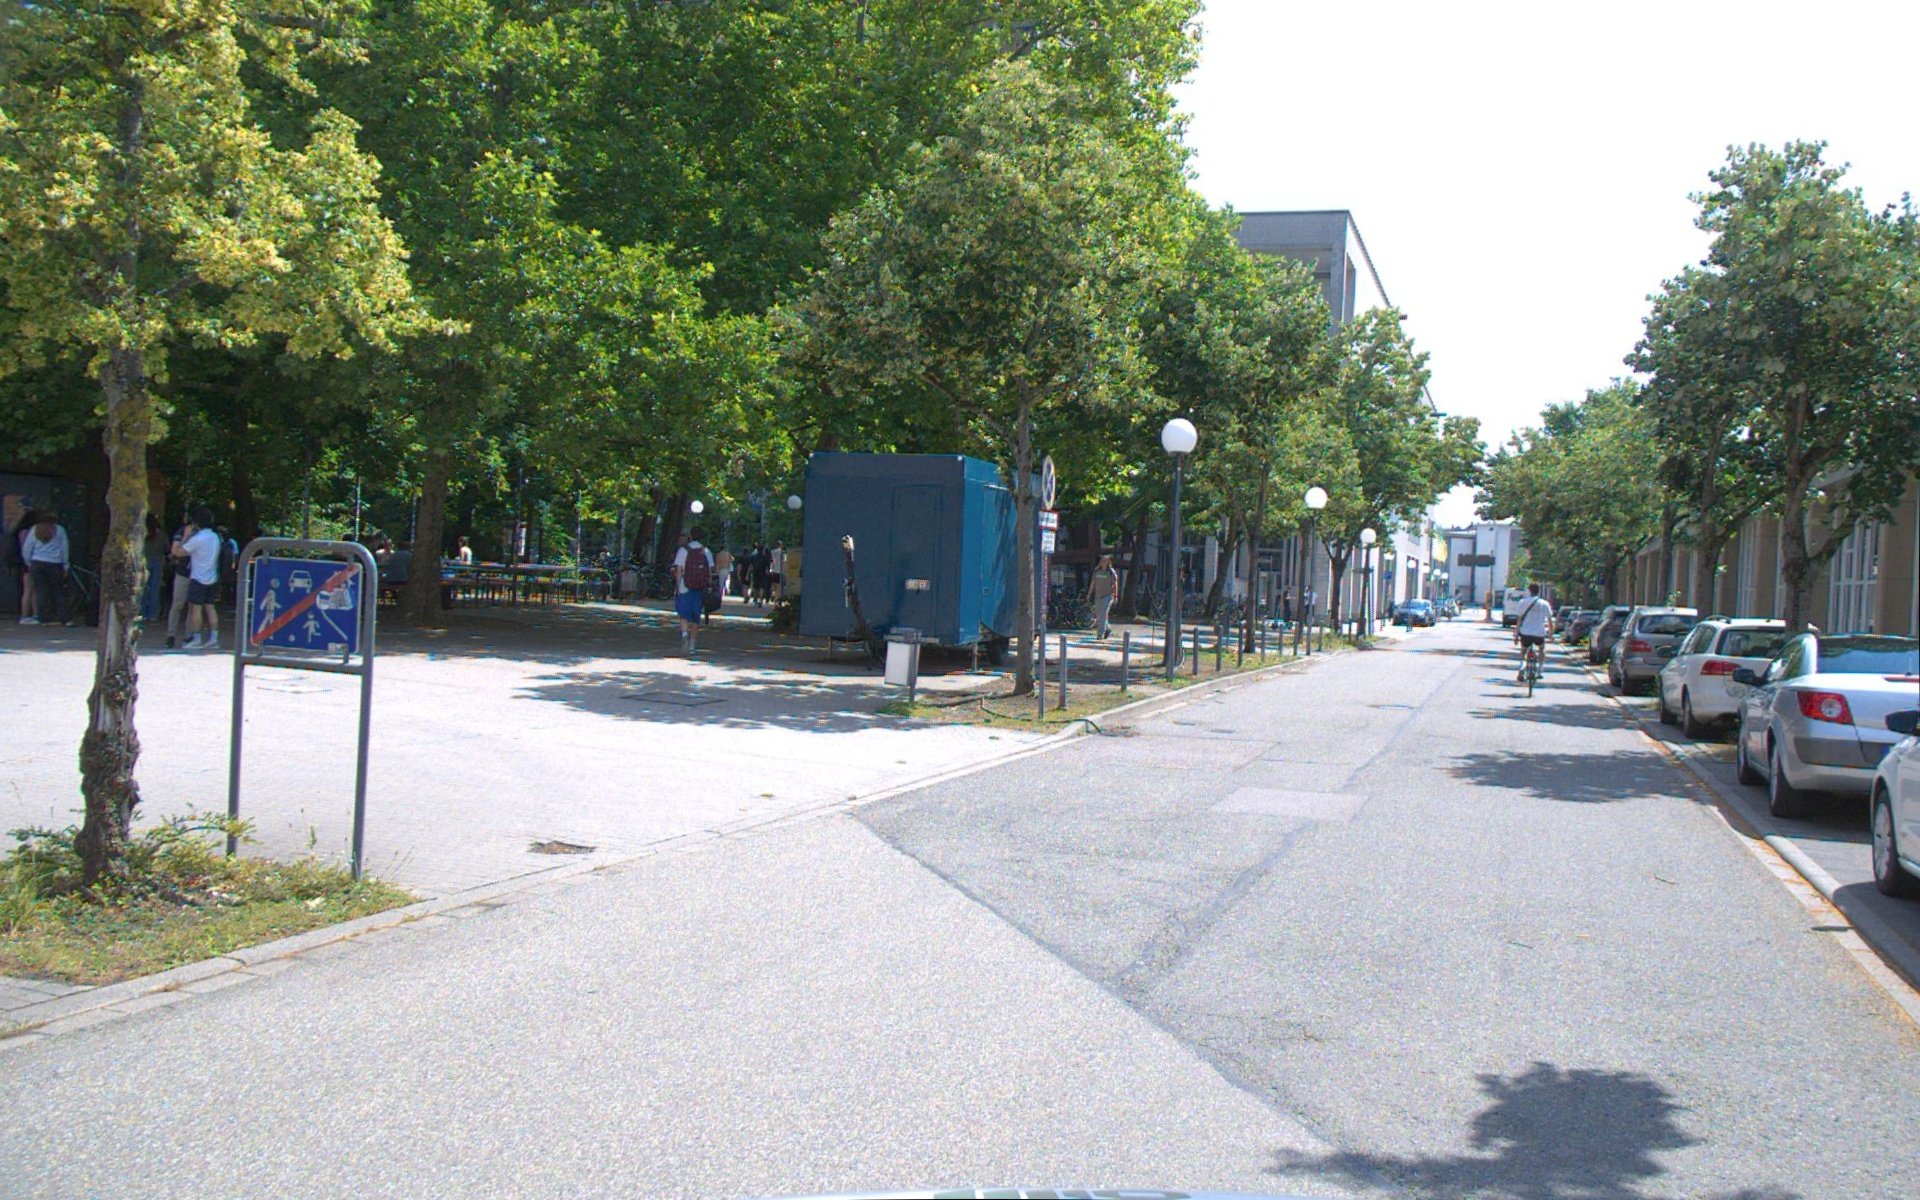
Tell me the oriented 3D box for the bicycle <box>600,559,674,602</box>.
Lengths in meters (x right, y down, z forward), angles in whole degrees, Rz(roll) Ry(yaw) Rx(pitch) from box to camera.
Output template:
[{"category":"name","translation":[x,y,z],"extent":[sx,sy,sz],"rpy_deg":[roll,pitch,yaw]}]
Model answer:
[{"category":"bicycle","translation":[-9.309,-0.560,47.665],"extent":[1.965,1.138,0.585],"rpy_deg":[2,1,10]}]

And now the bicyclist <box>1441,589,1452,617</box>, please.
[{"category":"bicyclist","translation":[35.937,0.217,122.171],"extent":[0.696,2.049,1.019],"rpy_deg":[1,0,17]}]

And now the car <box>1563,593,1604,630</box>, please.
[{"category":"car","translation":[28.137,0.515,74.697],"extent":[1.583,1.565,3.781],"rpy_deg":[3,1,19]}]

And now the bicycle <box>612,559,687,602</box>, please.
[{"category":"bicycle","translation":[-8.787,-0.551,46.779],"extent":[1.965,1.138,0.585],"rpy_deg":[2,1,10]}]

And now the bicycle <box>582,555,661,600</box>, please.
[{"category":"bicycle","translation":[-9.089,-0.604,44.424],"extent":[1.965,1.138,0.585],"rpy_deg":[2,1,10]}]

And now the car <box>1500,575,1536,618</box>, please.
[{"category":"car","translation":[36.160,-0.235,107.221],"extent":[2.041,2.583,4.317],"rpy_deg":[4,1,18]}]

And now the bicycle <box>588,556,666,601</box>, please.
[{"category":"bicycle","translation":[-9.107,-0.591,45.271],"extent":[1.965,1.138,0.585],"rpy_deg":[2,1,10]}]

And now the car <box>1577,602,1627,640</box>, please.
[{"category":"car","translation":[26.848,0.857,69.284],"extent":[1.743,1.502,4.463],"rpy_deg":[1,0,19]}]

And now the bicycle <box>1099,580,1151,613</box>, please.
[{"category":"bicycle","translation":[6.691,-0.148,67.044],"extent":[1.979,1.275,0.585],"rpy_deg":[2,1,-14]}]

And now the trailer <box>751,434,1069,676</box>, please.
[{"category":"trailer","translation":[-0.521,-0.636,25.114],"extent":[2.641,3.078,6.268],"rpy_deg":[4,1,19]}]

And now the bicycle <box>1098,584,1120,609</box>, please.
[{"category":"bicycle","translation":[6.344,-0.144,70.439],"extent":[0.465,1.050,1.850],"rpy_deg":[3,1,19]}]

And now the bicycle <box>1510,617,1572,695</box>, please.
[{"category":"bicycle","translation":[10.172,0.947,29.037],"extent":[0.864,1.220,2.751],"rpy_deg":[3,1,17]}]

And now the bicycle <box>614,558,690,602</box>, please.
[{"category":"bicycle","translation":[-8.561,-0.554,45.951],"extent":[1.965,1.138,0.585],"rpy_deg":[2,1,10]}]

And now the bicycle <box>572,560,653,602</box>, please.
[{"category":"bicycle","translation":[-9.118,-0.509,43.438],"extent":[1.965,1.025,0.585],"rpy_deg":[2,1,10]}]

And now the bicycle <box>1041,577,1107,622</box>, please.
[{"category":"bicycle","translation":[3.153,-0.020,45.738],"extent":[1.736,1.151,0.459],"rpy_deg":[3,1,1]}]

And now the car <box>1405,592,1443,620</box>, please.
[{"category":"car","translation":[26.411,0.338,94.062],"extent":[1.730,1.452,4.235],"rpy_deg":[3,0,20]}]

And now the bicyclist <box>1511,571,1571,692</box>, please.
[{"category":"bicyclist","translation":[10.180,0.535,29.001],"extent":[0.855,2.048,0.850],"rpy_deg":[3,1,17]}]

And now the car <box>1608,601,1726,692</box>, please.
[{"category":"car","translation":[13.742,0.843,32.334],"extent":[1.668,1.601,4.142],"rpy_deg":[2,0,17]}]

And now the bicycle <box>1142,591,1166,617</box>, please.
[{"category":"bicycle","translation":[8.502,0.173,72.397],"extent":[0.540,1.105,1.974],"rpy_deg":[5,1,19]}]

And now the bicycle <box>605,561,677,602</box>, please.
[{"category":"bicycle","translation":[-9.362,-0.545,48.496],"extent":[1.965,1.138,0.585],"rpy_deg":[2,1,10]}]

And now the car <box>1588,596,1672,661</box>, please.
[{"category":"car","translation":[18.959,0.800,46.972],"extent":[1.784,1.693,4.586],"rpy_deg":[1,0,17]}]

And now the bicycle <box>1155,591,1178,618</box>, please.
[{"category":"bicycle","translation":[9.045,0.198,72.275],"extent":[0.540,1.105,1.974],"rpy_deg":[5,1,19]}]

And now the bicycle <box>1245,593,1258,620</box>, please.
[{"category":"bicycle","translation":[11.382,0.244,64.636],"extent":[0.373,1.043,1.816],"rpy_deg":[3,1,7]}]

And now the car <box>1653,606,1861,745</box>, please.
[{"category":"car","translation":[10.117,0.868,21.325],"extent":[1.689,1.493,4.674],"rpy_deg":[2,1,17]}]

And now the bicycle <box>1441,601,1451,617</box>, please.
[{"category":"bicycle","translation":[35.966,0.640,122.308],"extent":[0.670,1.149,1.890],"rpy_deg":[2,1,17]}]

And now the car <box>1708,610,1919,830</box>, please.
[{"category":"car","translation":[7.242,0.856,13.385],"extent":[1.612,1.414,3.991],"rpy_deg":[1,1,17]}]

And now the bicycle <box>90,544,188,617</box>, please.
[{"category":"bicycle","translation":[-13.153,-0.305,26.528],"extent":[1.328,1.095,0.414],"rpy_deg":[3,-1,-25]}]

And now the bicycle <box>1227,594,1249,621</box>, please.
[{"category":"bicycle","translation":[11.963,0.327,71.087],"extent":[0.540,1.105,1.974],"rpy_deg":[5,1,19]}]

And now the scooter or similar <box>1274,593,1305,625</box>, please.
[{"category":"scooter or similar","translation":[12.871,0.338,64.651],"extent":[1.313,1.196,0.336],"rpy_deg":[3,1,-36]}]

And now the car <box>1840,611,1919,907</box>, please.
[{"category":"car","translation":[5.551,0.834,7.905],"extent":[1.554,1.492,3.991],"rpy_deg":[2,0,17]}]

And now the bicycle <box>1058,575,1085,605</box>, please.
[{"category":"bicycle","translation":[4.938,-0.425,73.151],"extent":[0.514,1.274,2.382],"rpy_deg":[2,1,20]}]
